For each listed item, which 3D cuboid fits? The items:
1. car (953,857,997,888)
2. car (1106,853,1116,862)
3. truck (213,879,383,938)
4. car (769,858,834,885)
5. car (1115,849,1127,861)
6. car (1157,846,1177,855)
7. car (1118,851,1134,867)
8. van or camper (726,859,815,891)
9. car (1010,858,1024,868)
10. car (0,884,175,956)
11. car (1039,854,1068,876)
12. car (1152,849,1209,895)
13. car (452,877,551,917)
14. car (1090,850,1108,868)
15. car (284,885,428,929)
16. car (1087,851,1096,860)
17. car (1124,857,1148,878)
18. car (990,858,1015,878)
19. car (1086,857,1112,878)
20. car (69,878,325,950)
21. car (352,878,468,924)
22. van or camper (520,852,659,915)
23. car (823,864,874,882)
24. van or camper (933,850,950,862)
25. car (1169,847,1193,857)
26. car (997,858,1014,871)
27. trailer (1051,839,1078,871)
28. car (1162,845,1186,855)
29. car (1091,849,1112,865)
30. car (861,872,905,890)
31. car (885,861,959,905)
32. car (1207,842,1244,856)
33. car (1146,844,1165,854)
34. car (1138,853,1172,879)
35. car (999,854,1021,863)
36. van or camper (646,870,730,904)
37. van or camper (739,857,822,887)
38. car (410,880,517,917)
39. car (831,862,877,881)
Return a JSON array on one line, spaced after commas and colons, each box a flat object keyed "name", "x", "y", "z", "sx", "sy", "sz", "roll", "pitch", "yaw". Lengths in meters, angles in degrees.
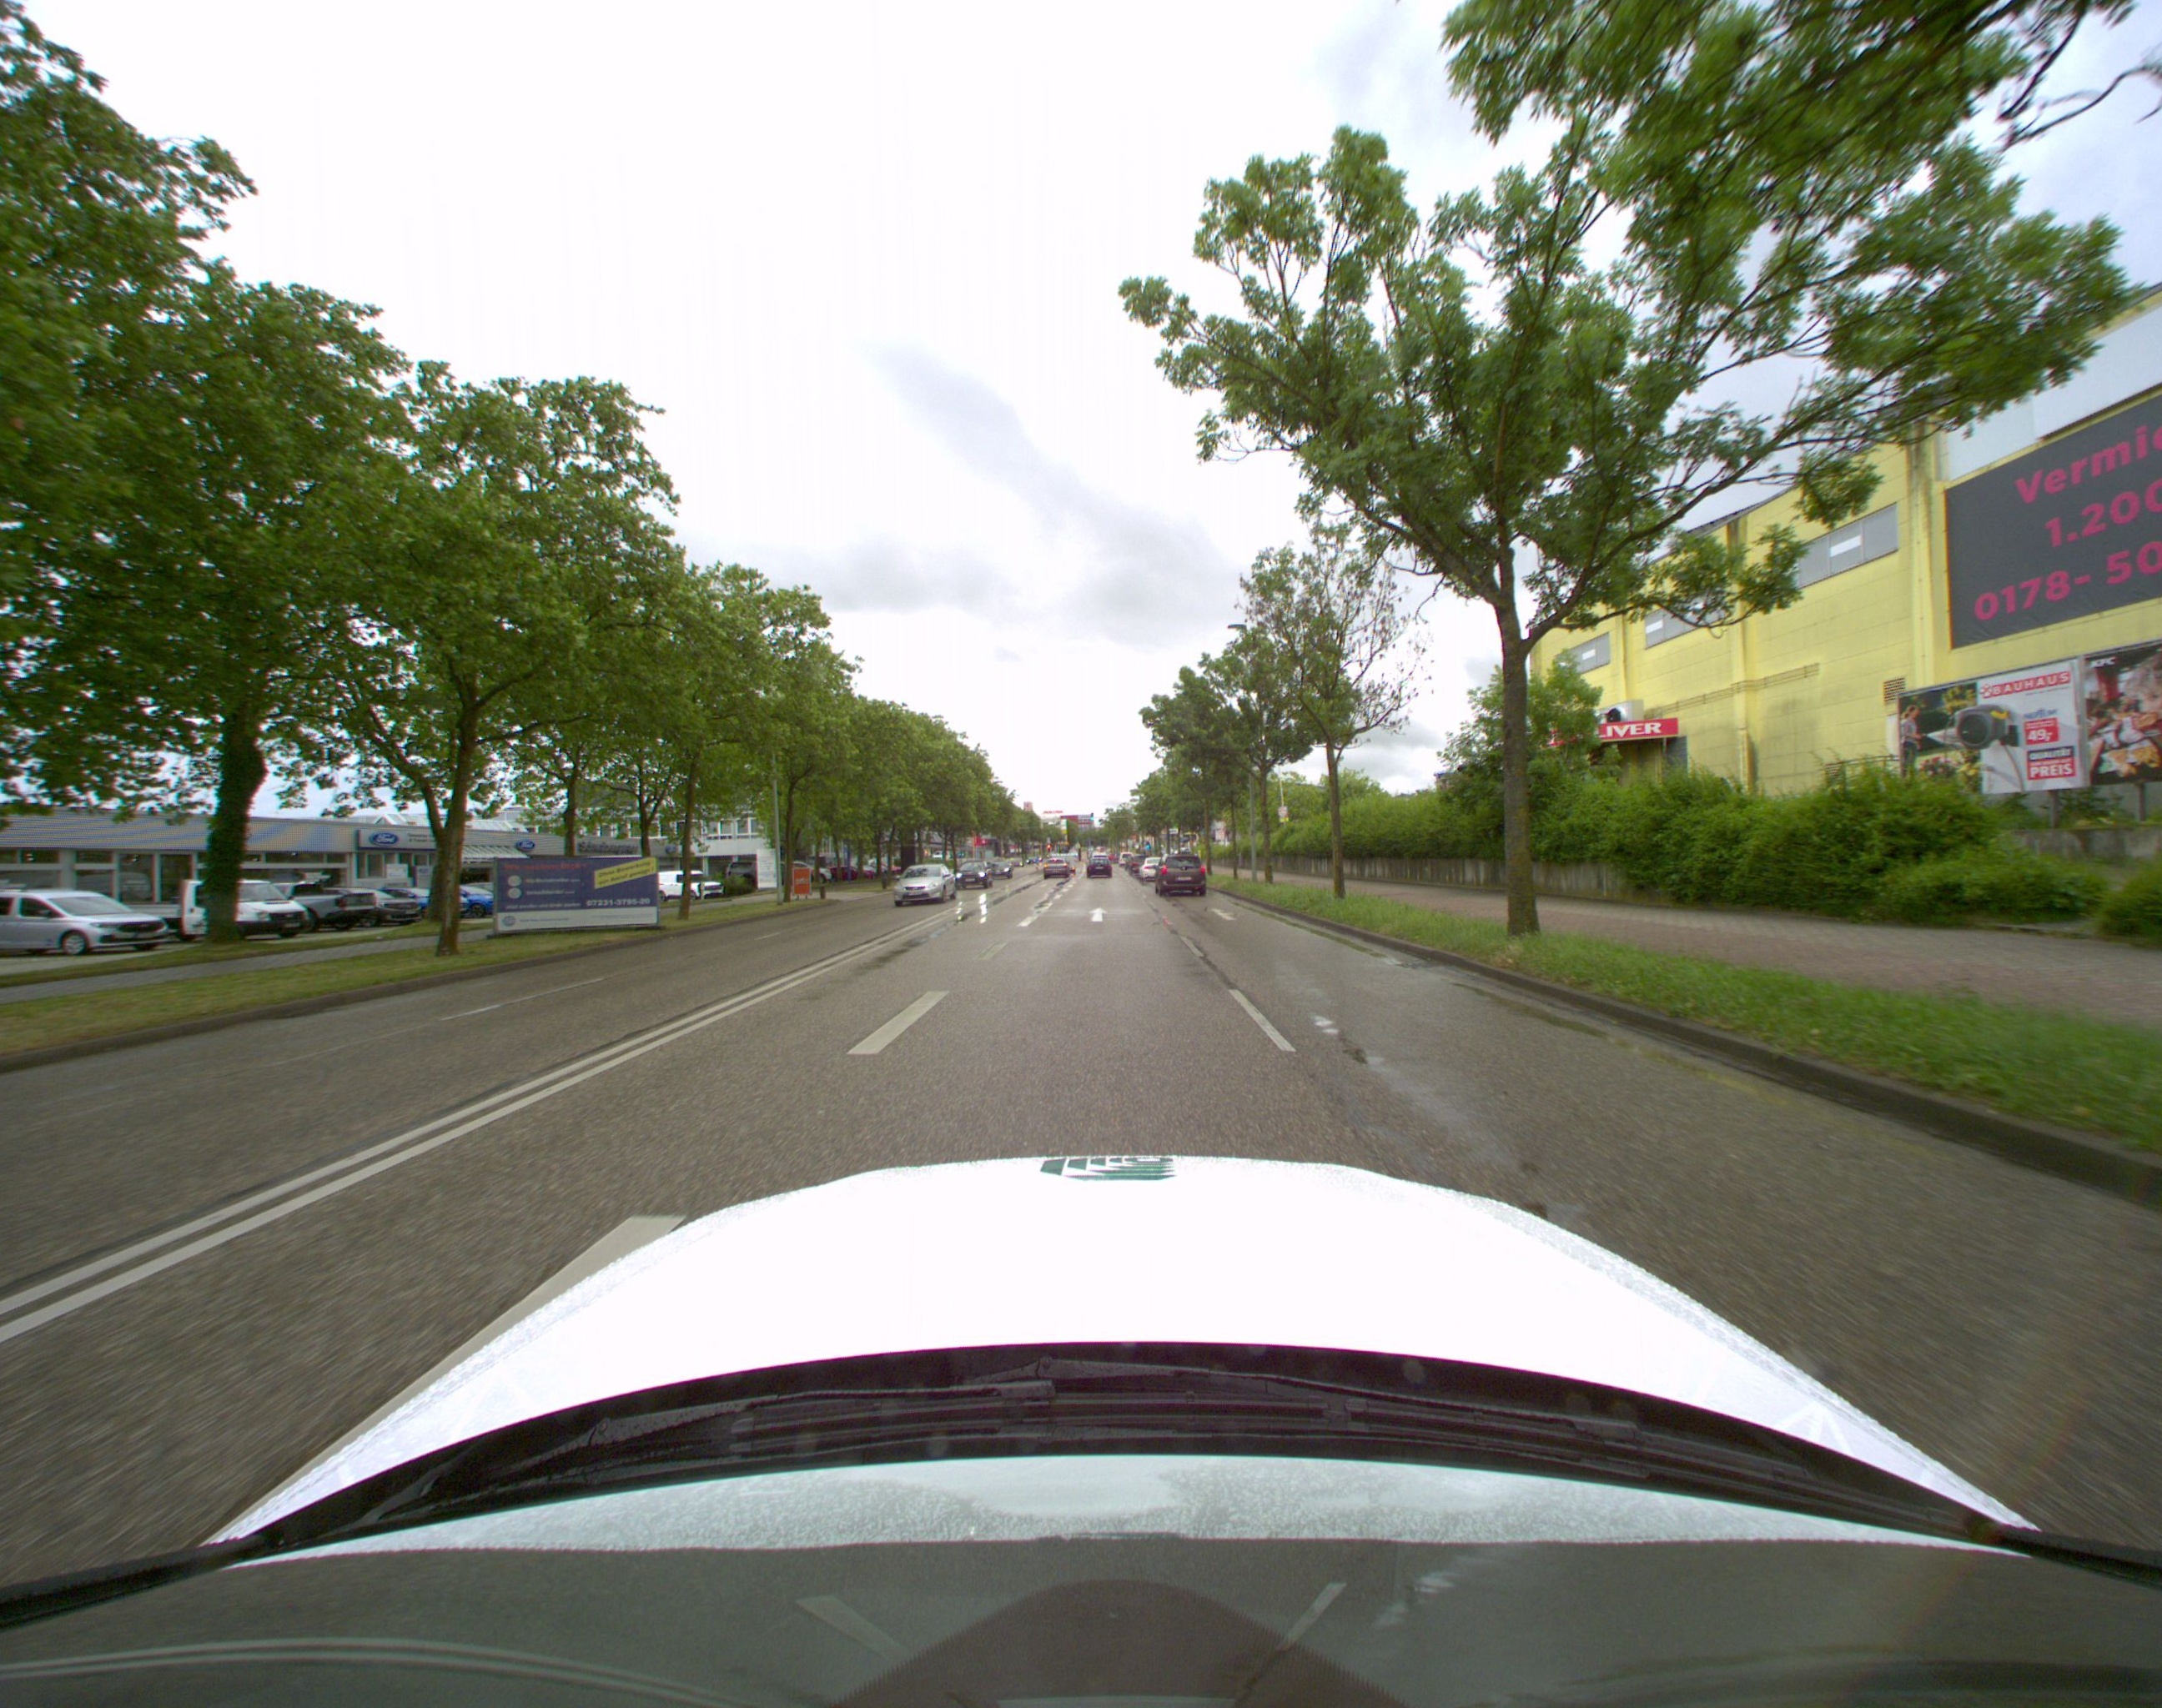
[{"name": "car", "x": -5.849, "y": 0.994, "z": 45.341, "sx": 1.756, "sy": 1.531, "sz": 3.859, "roll": -4, "pitch": 0, "yaw": 1}, {"name": "car", "x": 5.231, "y": 0.646, "z": 141.968, "sx": 1.689, "sy": 1.443, "sz": 3.990, "roll": -2, "pitch": 0, "yaw": 1}, {"name": "truck", "x": -28.393, "y": 1.922, "z": 29.676, "sx": 3.986, "sy": 1.838, "sz": 1.994, "roll": -2, "pitch": 0, "yaw": -9}, {"name": "car", "x": -20.977, "y": 1.306, "z": 61.130, "sx": 4.471, "sy": 1.816, "sz": 1.985, "roll": -2, "pitch": 0, "yaw": -22}, {"name": "car", "x": 5.755, "y": 0.167, "z": 118.080, "sx": 1.678, "sy": 1.684, "sz": 3.404, "roll": 0, "pitch": -1, "yaw": 2}, {"name": "car", "x": 16.428, "y": -0.707, "z": 156.076, "sx": 3.617, "sy": 1.536, "sz": 1.625, "roll": -3, "pitch": 0, "yaw": -39}, {"name": "car", "x": 5.580, "y": 0.659, "z": 100.624, "sx": 1.776, "sy": 1.866, "sz": 4.000, "roll": -3, "pitch": 0, "yaw": 1}, {"name": "van or camper", "x": -20.531, "y": 1.376, "z": 53.795, "sx": 5.308, "sy": 1.821, "sz": 2.248, "roll": -2, "pitch": 0, "yaw": -25}, {"name": "car", "x": -9.827, "y": 1.317, "z": 124.741, "sx": 1.704, "sy": 1.465, "sz": 4.084, "roll": -3, "pitch": 0, "yaw": -1}, {"name": "car", "x": -28.238, "y": 1.817, "z": 22.587, "sx": 3.976, "sy": 1.767, "sz": 1.881, "roll": -2, "pitch": 0, "yaw": -2}, {"name": "car", "x": -2.053, "y": 0.806, "z": 63.055, "sx": 1.900, "sy": 1.578, "sz": 4.881, "roll": -3, "pitch": 0, "yaw": 1}, {"name": "car", "x": 3.878, "y": 0.667, "z": 32.383, "sx": 1.720, "sy": 1.624, "sz": 4.472, "roll": -2, "pitch": 0, "yaw": 1}, {"name": "car", "x": -28.495, "y": 2.096, "z": 40.097, "sx": 3.956, "sy": 1.767, "sz": 1.873, "roll": -2, "pitch": 0, "yaw": 17}, {"name": "car", "x": 2.044, "y": 0.593, "z": 92.356, "sx": 1.986, "sy": 2.014, "sz": 4.000, "roll": 0, "pitch": -1, "yaw": 1}, {"name": "car", "x": -28.790, "y": 2.081, "z": 32.427, "sx": 3.969, "sy": 1.461, "sz": 2.036, "roll": -2, "pitch": 0, "yaw": 4}, {"name": "car", "x": 2.293, "y": 0.363, "z": 174.773, "sx": 1.986, "sy": 2.014, "sz": 4.001, "roll": 0, "pitch": -1, "yaw": 2}, {"name": "car", "x": 4.359, "y": 1.047, "z": 64.946, "sx": 1.794, "sy": 1.587, "sz": 4.452, "roll": 0, "pitch": 0, "yaw": 1}, {"name": "car", "x": -6.275, "y": 1.069, "z": 65.421, "sx": 1.662, "sy": 1.462, "sz": 4.176, "roll": -3, "pitch": 0, "yaw": -3}, {"name": "car", "x": 1.304, "y": 0.969, "z": 59.916, "sx": 1.776, "sy": 1.398, "sz": 4.000, "roll": -1, "pitch": 0, "yaw": 0}, {"name": "car", "x": -28.264, "y": 1.875, "z": 26.223, "sx": 5.363, "sy": 1.903, "sz": 2.413, "roll": -2, "pitch": 0, "yaw": -3}, {"name": "car", "x": -28.738, "y": 2.001, "z": 34.917, "sx": 3.957, "sy": 1.767, "sz": 1.873, "roll": -2, "pitch": 0, "yaw": 16}, {"name": "van or camper", "x": -21.121, "y": 1.166, "z": 35.446, "sx": 1.986, "sy": 2.470, "sz": 6.403, "roll": -1, "pitch": 0, "yaw": 2}, {"name": "car", "x": -22.750, "y": 1.877, "z": 79.602, "sx": 4.572, "sy": 1.596, "sz": 1.985, "roll": -1, "pitch": -1, "yaw": -22}, {"name": "van or camper", "x": -23.177, "y": 0.291, "z": 135.763, "sx": 1.987, "sy": 1.967, "sz": 4.788, "roll": 0, "pitch": -1, "yaw": 1}, {"name": "car", "x": 16.913, "y": -0.388, "z": 137.845, "sx": 1.907, "sy": 1.576, "sz": 4.315, "roll": -2, "pitch": 0, "yaw": 42}, {"name": "car", "x": -9.245, "y": 1.215, "z": 100.015, "sx": 1.704, "sy": 1.465, "sz": 4.084, "roll": -3, "pitch": 0, "yaw": -1}, {"name": "trailer", "x": -1.540, "y": 0.103, "z": 78.179, "sx": 2.365, "sy": 2.897, "sz": 5.544, "roll": -3, "pitch": 0, "yaw": 0}, {"name": "car", "x": 17.216, "y": -0.722, "z": 150.324, "sx": 4.048, "sy": 1.662, "sz": 1.959, "roll": -5, "pitch": 2, "yaw": -39}, {"name": "car", "x": 1.854, "y": 0.295, "z": 75.276, "sx": 1.678, "sy": 1.377, "sz": 3.996, "roll": -2, "pitch": 0, "yaw": -3}, {"name": "car", "x": -21.199, "y": 2.926, "z": 87.274, "sx": 4.236, "sy": 1.596, "sz": 1.985, "roll": -4, "pitch": 0, "yaw": -23}, {"name": "car", "x": -5.990, "y": 1.032, "z": 31.235, "sx": 1.988, "sy": 1.429, "sz": 4.682, "roll": -3, "pitch": 0, "yaw": -2}, {"name": "car", "x": 16.759, "y": -0.527, "z": 94.467, "sx": 3.970, "sy": 1.442, "sz": 1.656, "roll": -2, "pitch": 0, "yaw": 3}, {"name": "car", "x": 17.003, "y": -1.152, "z": 185.578, "sx": 4.095, "sy": 1.904, "sz": 1.801, "roll": -3, "pitch": 0, "yaw": 2}, {"name": "car", "x": 4.569, "y": 0.727, "z": 50.752, "sx": 1.794, "sy": 1.544, "sz": 4.621, "roll": 0, "pitch": 0, "yaw": 1}, {"name": "car", "x": -13.718, "y": 0.788, "z": 157.314, "sx": 3.948, "sy": 1.552, "sz": 1.912, "roll": -3, "pitch": 1, "yaw": 35}, {"name": "van or camper", "x": -22.851, "y": 1.894, "z": 47.303, "sx": 4.589, "sy": 1.784, "sz": 1.850, "roll": -2, "pitch": 0, "yaw": 25}, {"name": "van or camper", "x": -21.403, "y": 1.286, "z": 58.067, "sx": 5.380, "sy": 1.770, "sz": 2.089, "roll": -2, "pitch": -3, "yaw": -22}, {"name": "car", "x": -28.428, "y": 2.044, "z": 37.524, "sx": 3.957, "sy": 1.520, "sz": 1.873, "roll": -2, "pitch": 0, "yaw": 15}, {"name": "car", "x": -23.143, "y": 1.741, "z": 82.892, "sx": 4.236, "sy": 1.653, "sz": 1.997, "roll": -3, "pitch": -1, "yaw": -23}]
